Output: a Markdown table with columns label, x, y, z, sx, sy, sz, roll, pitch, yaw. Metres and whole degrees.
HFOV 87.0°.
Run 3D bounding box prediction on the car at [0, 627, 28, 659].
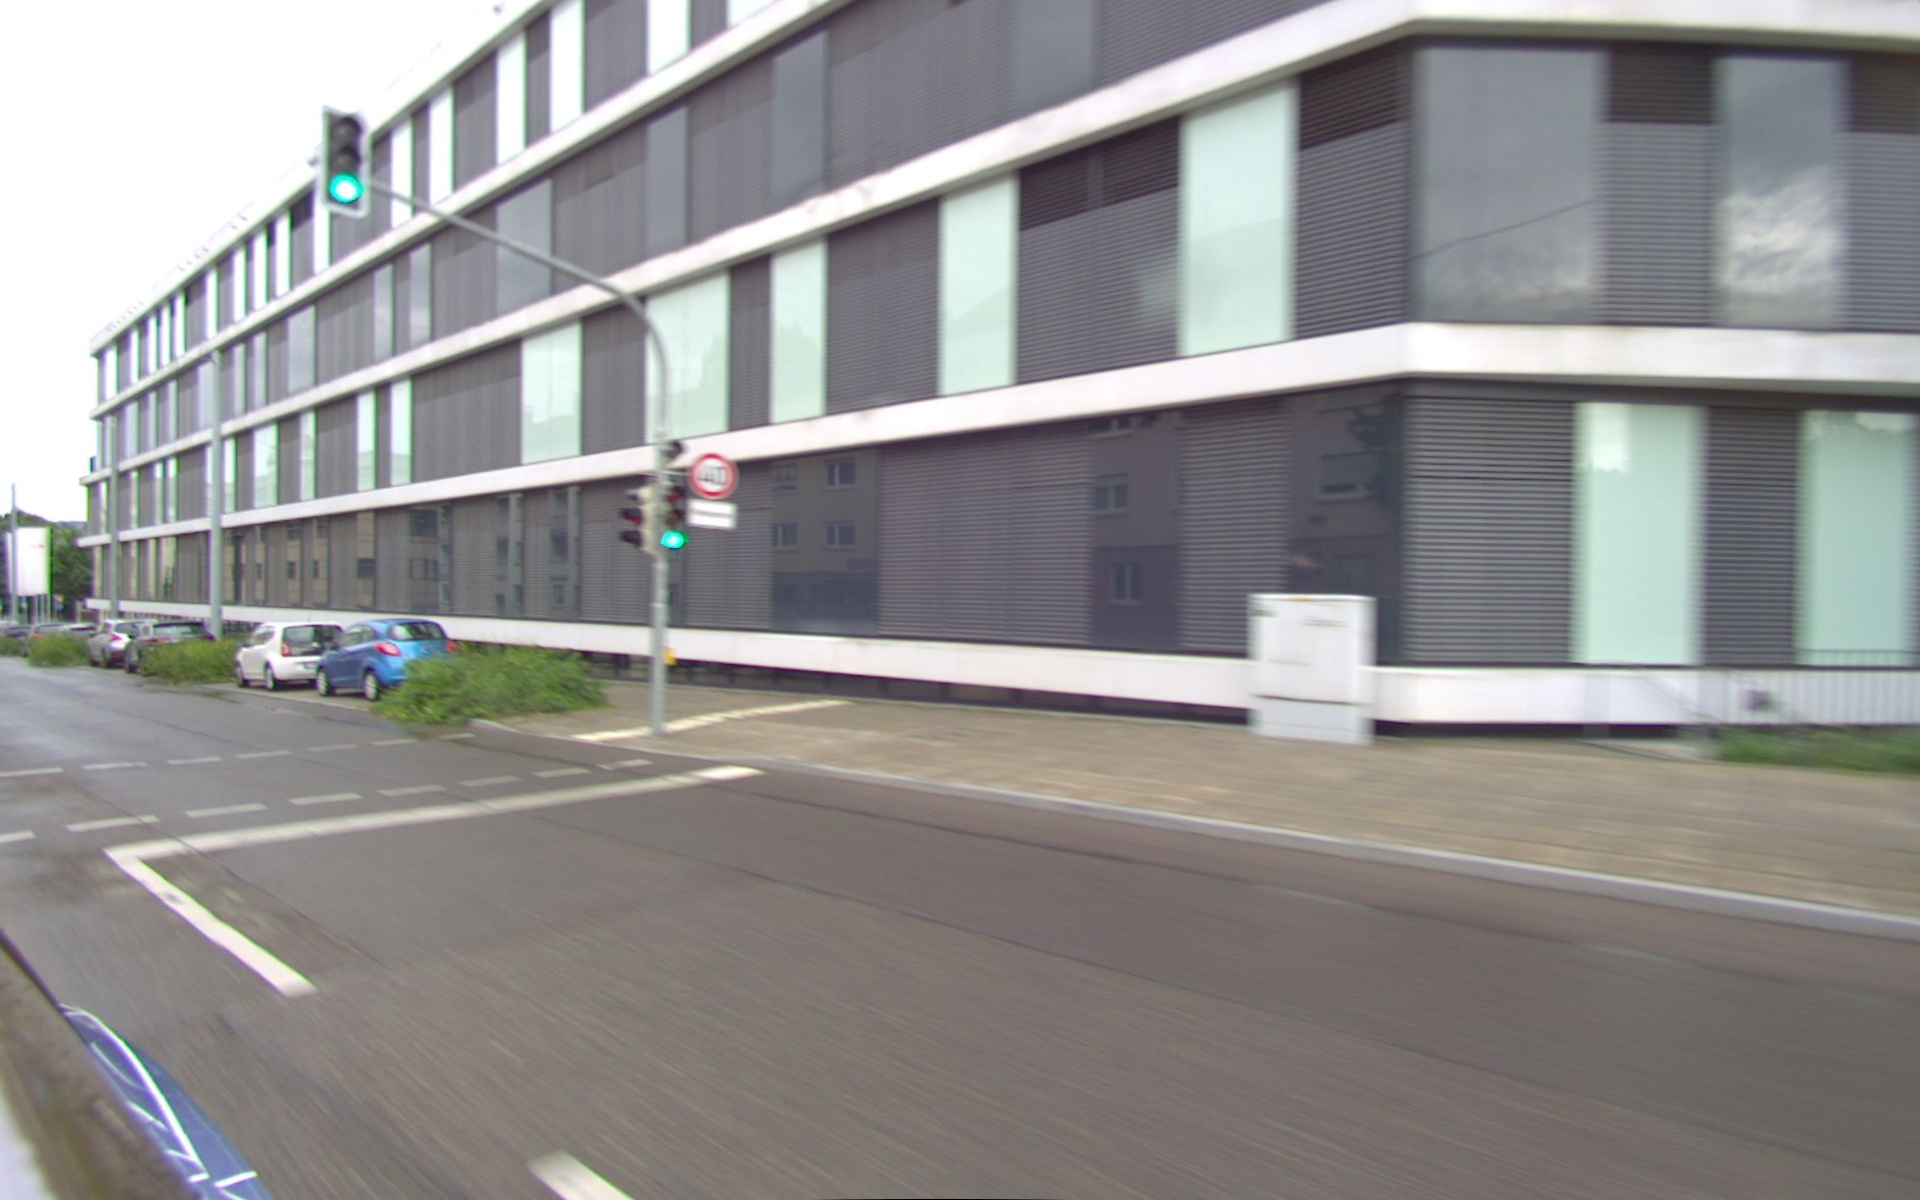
| label | x | y | z | sx | sy | sz | roll | pitch | yaw |
| --- | --- | --- | --- | --- | --- | --- | --- | --- | --- |
| car | -51.299 | 2.291 | 54.157 | 4.039 | 1.597 | 1.621 | -2 | -1 | 41 |

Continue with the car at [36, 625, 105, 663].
| label | x | y | z | sx | sy | sz | roll | pitch | yaw |
| --- | --- | --- | --- | --- | --- | --- | --- | --- | --- |
| car | -35.420 | 1.715 | 40.264 | 4.039 | 1.404 | 1.545 | -2 | -1 | 41 |

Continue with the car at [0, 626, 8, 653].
| label | x | y | z | sx | sy | sz | roll | pitch | yaw |
| --- | --- | --- | --- | --- | --- | --- | --- | --- | --- |
| car | -58.616 | 2.405 | 60.837 | 4.039 | 1.597 | 1.621 | -2 | -1 | 41 |

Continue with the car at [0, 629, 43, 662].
| label | x | y | z | sx | sy | sz | roll | pitch | yaw |
| --- | --- | --- | --- | --- | --- | --- | --- | --- | --- |
| car | -46.667 | 2.224 | 49.964 | 4.039 | 1.483 | 1.621 | -2 | -1 | 41 |

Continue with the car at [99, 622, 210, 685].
| label | x | y | z | sx | sy | sz | roll | pitch | yaw |
| --- | --- | --- | --- | --- | --- | --- | --- | --- | --- |
| car | -23.484 | 1.491 | 29.433 | 4.362 | 1.601 | 1.862 | -2 | 1 | 43 |

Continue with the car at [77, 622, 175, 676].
| label | x | y | z | sx | sy | sz | roll | pitch | yaw |
| --- | --- | --- | --- | --- | --- | --- | --- | --- | --- |
| car | -27.838 | 1.602 | 33.741 | 4.360 | 1.601 | 1.811 | -2 | 1 | 41 |

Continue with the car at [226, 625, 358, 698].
| label | x | y | z | sx | sy | sz | roll | pitch | yaw |
| --- | --- | --- | --- | --- | --- | --- | --- | --- | --- |
| car | -15.007 | 1.318 | 22.668 | 3.582 | 1.478 | 1.620 | -1 | -1 | 42 |

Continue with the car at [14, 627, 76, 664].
| label | x | y | z | sx | sy | sz | roll | pitch | yaw |
| --- | --- | --- | --- | --- | --- | --- | --- | --- | --- |
| car | -39.911 | 1.950 | 44.123 | 4.039 | 1.483 | 1.545 | -2 | -1 | 41 |

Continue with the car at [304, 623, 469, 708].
| label | x | y | z | sx | sy | sz | roll | pitch | yaw |
| --- | --- | --- | --- | --- | --- | --- | --- | --- | --- |
| car | -11.179 | 1.203 | 19.660 | 3.580 | 1.478 | 1.621 | -1 | -1 | 39 |
